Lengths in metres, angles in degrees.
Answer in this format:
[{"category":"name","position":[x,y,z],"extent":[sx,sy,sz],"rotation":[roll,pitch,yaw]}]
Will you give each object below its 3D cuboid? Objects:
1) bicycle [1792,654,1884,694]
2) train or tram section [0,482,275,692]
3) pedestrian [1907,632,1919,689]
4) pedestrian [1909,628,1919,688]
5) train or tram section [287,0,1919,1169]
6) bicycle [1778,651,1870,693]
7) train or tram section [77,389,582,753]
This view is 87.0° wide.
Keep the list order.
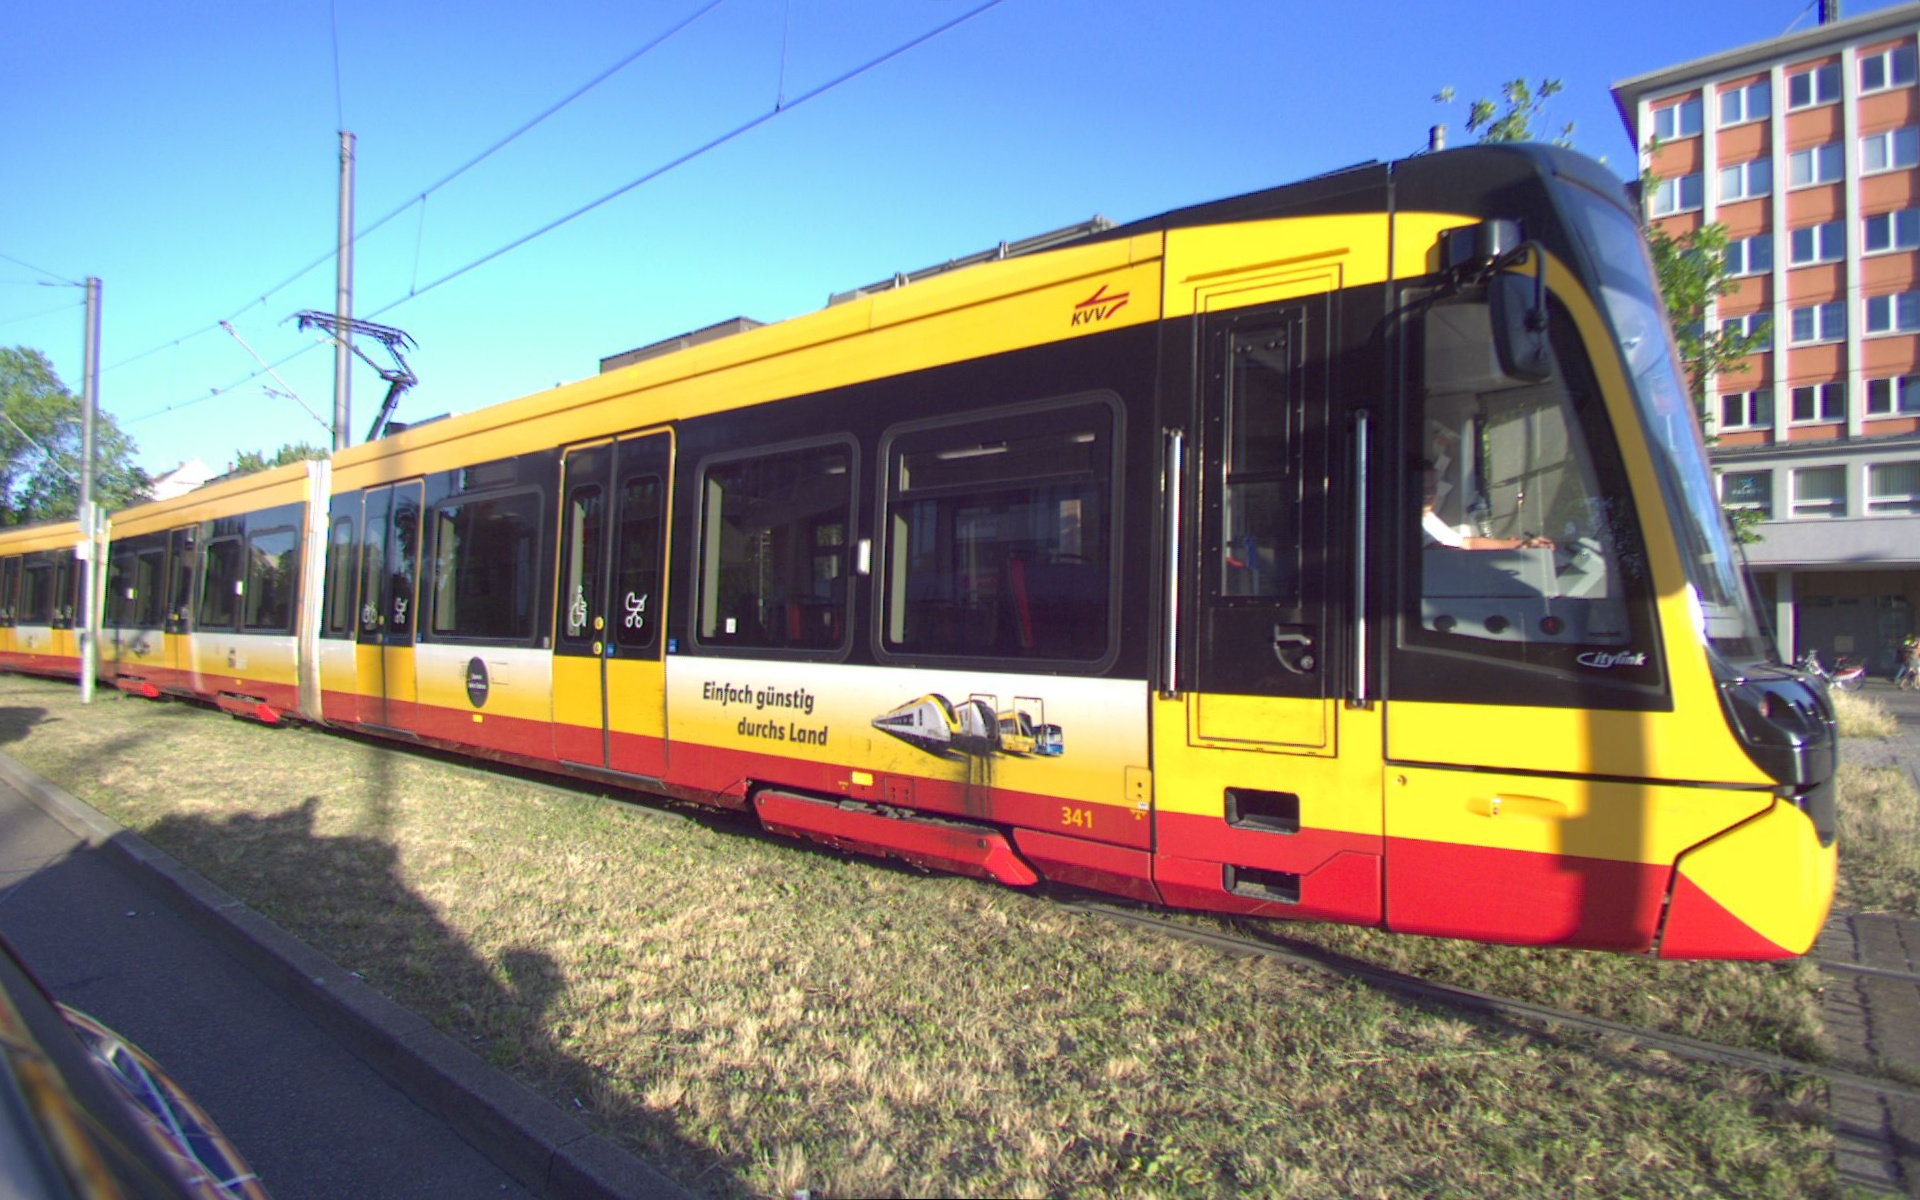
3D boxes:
[{"category":"bicycle","position":[25.424,2.133,29.354],"extent":[1.994,1.083,0.462],"rotation":[-1,-2,41]},{"category":"train or tram section","position":[-19.706,-0.184,22.819],"extent":[12.162,3.767,2.880],"rotation":[0,-1,35]},{"category":"pedestrian","position":[29.249,1.832,30.666],"extent":[0.729,1.697,0.577],"rotation":[-1,-2,40]},{"category":"pedestrian","position":[29.744,1.791,31.161],"extent":[0.713,1.832,0.741],"rotation":[-1,-2,41]},{"category":"train or tram section","position":[-1.360,-0.343,7.843],"extent":[13.209,3.767,2.879],"rotation":[-1,-1,40]},{"category":"bicycle","position":[24.043,1.987,28.196],"extent":[1.906,1.083,0.462],"rotation":[-1,-2,41]},{"category":"train or tram section","position":[-10.339,-0.245,15.485],"extent":[12.172,3.767,2.848],"rotation":[-1,-1,40]}]
